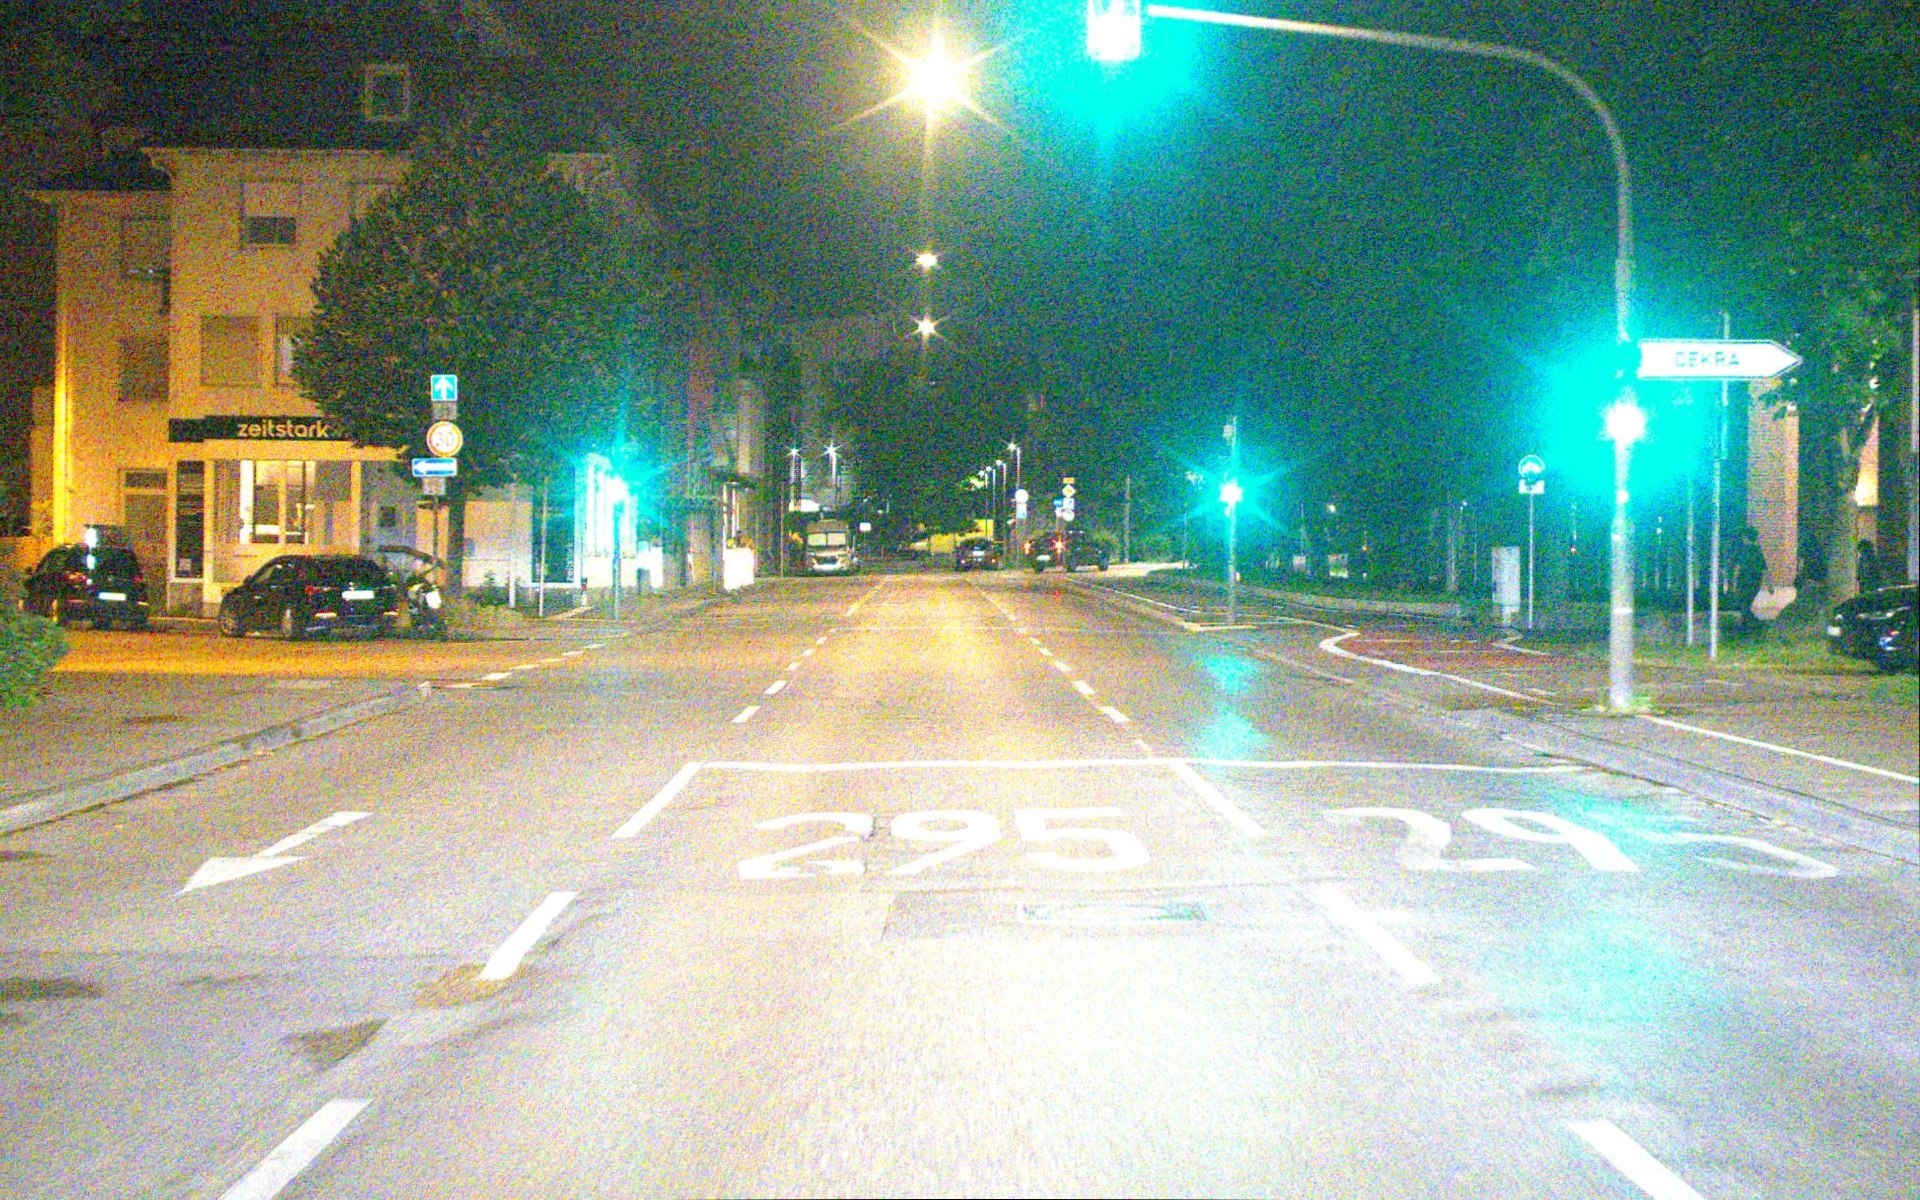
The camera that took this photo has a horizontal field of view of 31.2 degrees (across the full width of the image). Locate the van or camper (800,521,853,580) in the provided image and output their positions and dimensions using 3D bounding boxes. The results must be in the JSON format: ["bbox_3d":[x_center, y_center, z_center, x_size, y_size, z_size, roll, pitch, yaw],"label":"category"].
[{"bbox_3d":[-5.959,-2.192,154.224,2.158,2.527,6.227,-2,1,-1],"label":"van or camper"}]

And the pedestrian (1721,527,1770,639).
[{"bbox_3d":[12.688,-0.274,55.562,0.621,1.805,0.759,0,1,0],"label":"pedestrian"}]

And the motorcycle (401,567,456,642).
[{"bbox_3d":[-8.640,0.067,55.842,0.571,1.175,2.033,0,1,-18],"label":"motorcycle"}]

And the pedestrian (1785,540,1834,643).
[{"bbox_3d":[13.616,-0.141,55.116,0.621,1.633,0.679,0,1,0],"label":"pedestrian"}]

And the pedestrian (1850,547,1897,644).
[{"bbox_3d":[14.493,-0.071,54.558,0.572,1.528,0.633,0,1,0],"label":"pedestrian"}]

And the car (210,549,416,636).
[{"bbox_3d":[-11.164,-0.139,59.075,1.886,1.419,4.729,-1,1,-32],"label":"car"}]

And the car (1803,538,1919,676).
[{"bbox_3d":[11.426,0.057,37.320,4.081,1.449,1.787,0,0,-1],"label":"car"}]

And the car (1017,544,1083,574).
[{"bbox_3d":[4.064,-1.840,154.505,1.665,1.338,3.621,0,1,24],"label":"car"}]

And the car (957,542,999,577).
[{"bbox_3d":[0.881,-1.950,164.593,1.884,1.597,4.107,-2,0,1],"label":"car"}]

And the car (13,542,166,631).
[{"bbox_3d":[-17.207,-0.282,67.828,1.913,1.639,4.111,2,-1,-29],"label":"car"}]

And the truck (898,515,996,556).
[{"bbox_3d":[-0.936,-4.563,242.205,6.775,2.834,2.000,1,1,-3],"label":"truck"}]
